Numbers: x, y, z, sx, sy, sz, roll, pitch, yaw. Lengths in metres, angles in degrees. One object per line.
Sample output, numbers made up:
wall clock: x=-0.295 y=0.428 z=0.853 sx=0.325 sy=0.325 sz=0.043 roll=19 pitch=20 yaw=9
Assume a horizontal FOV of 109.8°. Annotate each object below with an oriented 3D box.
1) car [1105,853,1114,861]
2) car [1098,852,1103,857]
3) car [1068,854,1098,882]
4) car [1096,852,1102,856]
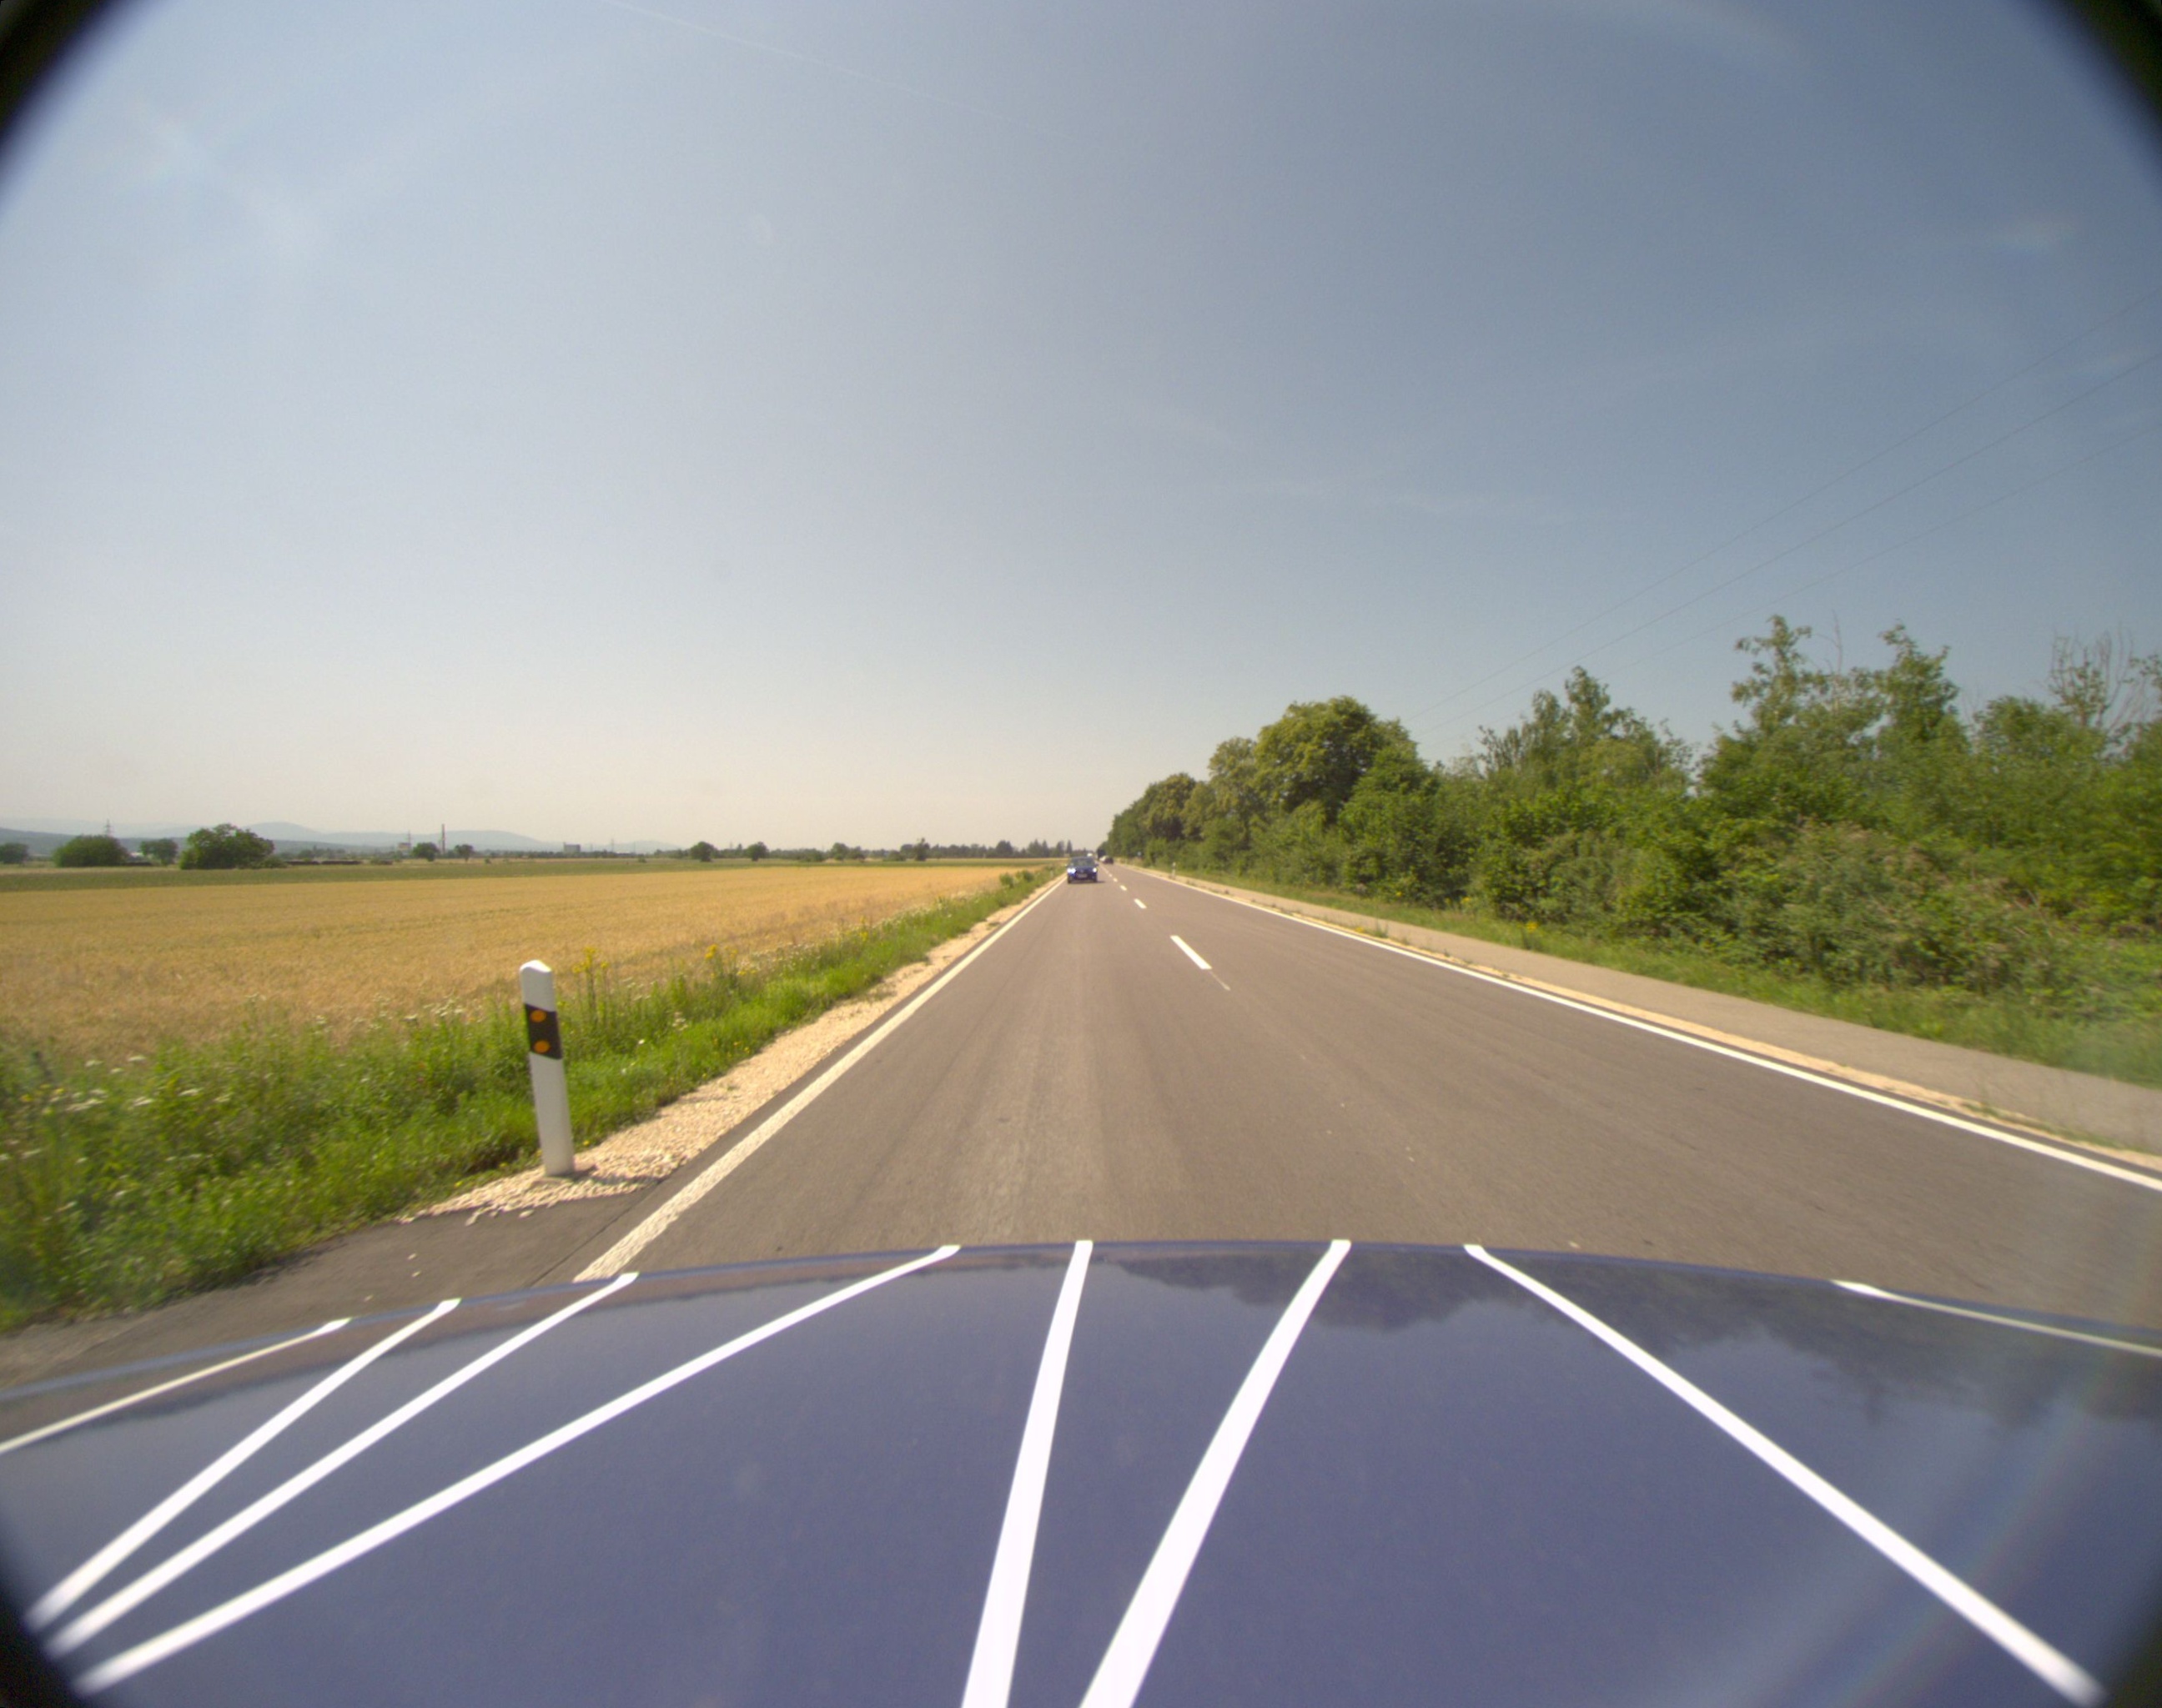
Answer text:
car: x=5.483 y=0.592 z=147.275 sx=1.661 sy=1.508 sz=4.000 roll=-1 pitch=0 yaw=2
car: x=6.657 y=0.247 z=255.122 sx=1.662 sy=1.508 sz=4.000 roll=-1 pitch=0 yaw=0
car: x=0.135 y=0.814 z=44.969 sx=1.662 sy=1.509 sz=4.000 roll=-2 pitch=0 yaw=0
car: x=6.170 y=-0.070 z=260.581 sx=1.662 sy=1.508 sz=3.999 roll=-1 pitch=0 yaw=-1
